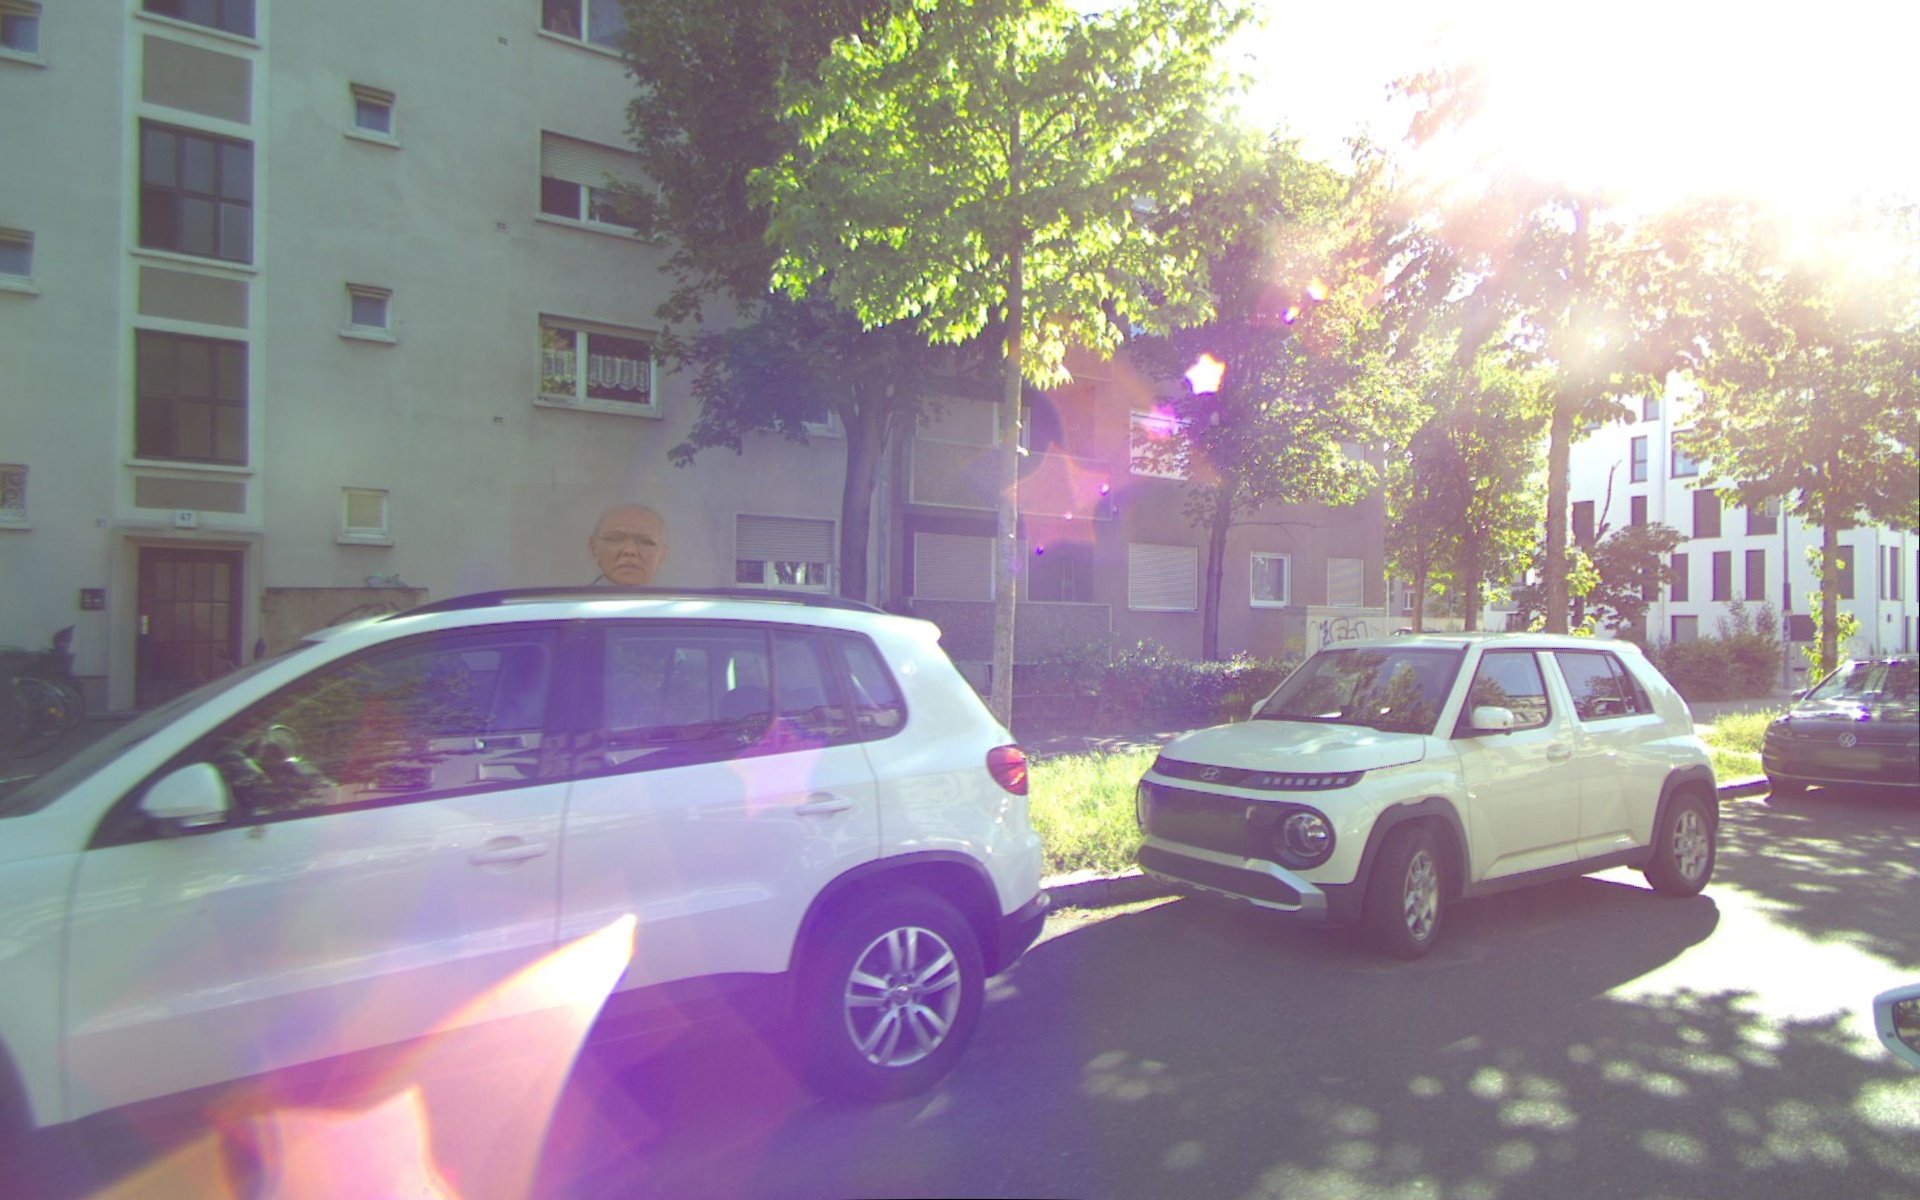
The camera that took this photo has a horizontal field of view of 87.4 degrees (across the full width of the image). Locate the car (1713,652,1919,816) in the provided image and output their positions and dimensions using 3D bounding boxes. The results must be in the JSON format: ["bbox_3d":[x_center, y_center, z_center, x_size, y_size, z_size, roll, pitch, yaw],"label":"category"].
[{"bbox_3d":[10.140,1.301,10.670,4.214,1.472,1.984,2,-5,-32],"label":"car"}]

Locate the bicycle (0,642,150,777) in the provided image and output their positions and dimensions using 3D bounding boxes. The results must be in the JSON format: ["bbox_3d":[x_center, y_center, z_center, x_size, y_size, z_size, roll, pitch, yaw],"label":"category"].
[{"bbox_3d":[-9.433,0.938,8.479,3.963,1.151,1.096,2,-2,-37],"label":"bicycle"}]

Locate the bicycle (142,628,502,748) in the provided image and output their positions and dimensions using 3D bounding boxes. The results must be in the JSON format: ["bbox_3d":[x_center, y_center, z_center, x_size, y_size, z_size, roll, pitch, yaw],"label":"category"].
[{"bbox_3d":[-6.506,0.881,10.351,3.172,1.151,0.916,0,-2,4],"label":"bicycle"}]

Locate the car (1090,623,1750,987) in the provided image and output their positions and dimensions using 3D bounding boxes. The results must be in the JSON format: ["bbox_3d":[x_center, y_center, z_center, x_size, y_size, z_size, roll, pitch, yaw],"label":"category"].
[{"bbox_3d":[2.851,0.983,6.081,3.884,1.564,1.702,2,-4,-30],"label":"car"}]

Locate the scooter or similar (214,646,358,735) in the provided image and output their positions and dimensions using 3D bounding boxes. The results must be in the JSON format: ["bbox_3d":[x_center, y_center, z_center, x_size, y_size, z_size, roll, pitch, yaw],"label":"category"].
[{"bbox_3d":[-8.147,1.073,12.215,1.395,1.003,0.779,2,-1,-32],"label":"scooter or similar"}]

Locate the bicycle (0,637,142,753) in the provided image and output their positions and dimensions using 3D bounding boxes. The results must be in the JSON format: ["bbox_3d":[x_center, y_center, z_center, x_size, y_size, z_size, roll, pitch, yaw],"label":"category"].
[{"bbox_3d":[-10.716,0.946,9.956,3.963,1.151,1.096,2,-2,-37],"label":"bicycle"}]

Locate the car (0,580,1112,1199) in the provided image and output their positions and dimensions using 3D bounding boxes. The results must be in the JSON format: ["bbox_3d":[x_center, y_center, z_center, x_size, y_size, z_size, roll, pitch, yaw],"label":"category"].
[{"bbox_3d":[-1.679,0.822,3.383,4.185,1.617,1.802,2,-3,-31],"label":"car"}]
